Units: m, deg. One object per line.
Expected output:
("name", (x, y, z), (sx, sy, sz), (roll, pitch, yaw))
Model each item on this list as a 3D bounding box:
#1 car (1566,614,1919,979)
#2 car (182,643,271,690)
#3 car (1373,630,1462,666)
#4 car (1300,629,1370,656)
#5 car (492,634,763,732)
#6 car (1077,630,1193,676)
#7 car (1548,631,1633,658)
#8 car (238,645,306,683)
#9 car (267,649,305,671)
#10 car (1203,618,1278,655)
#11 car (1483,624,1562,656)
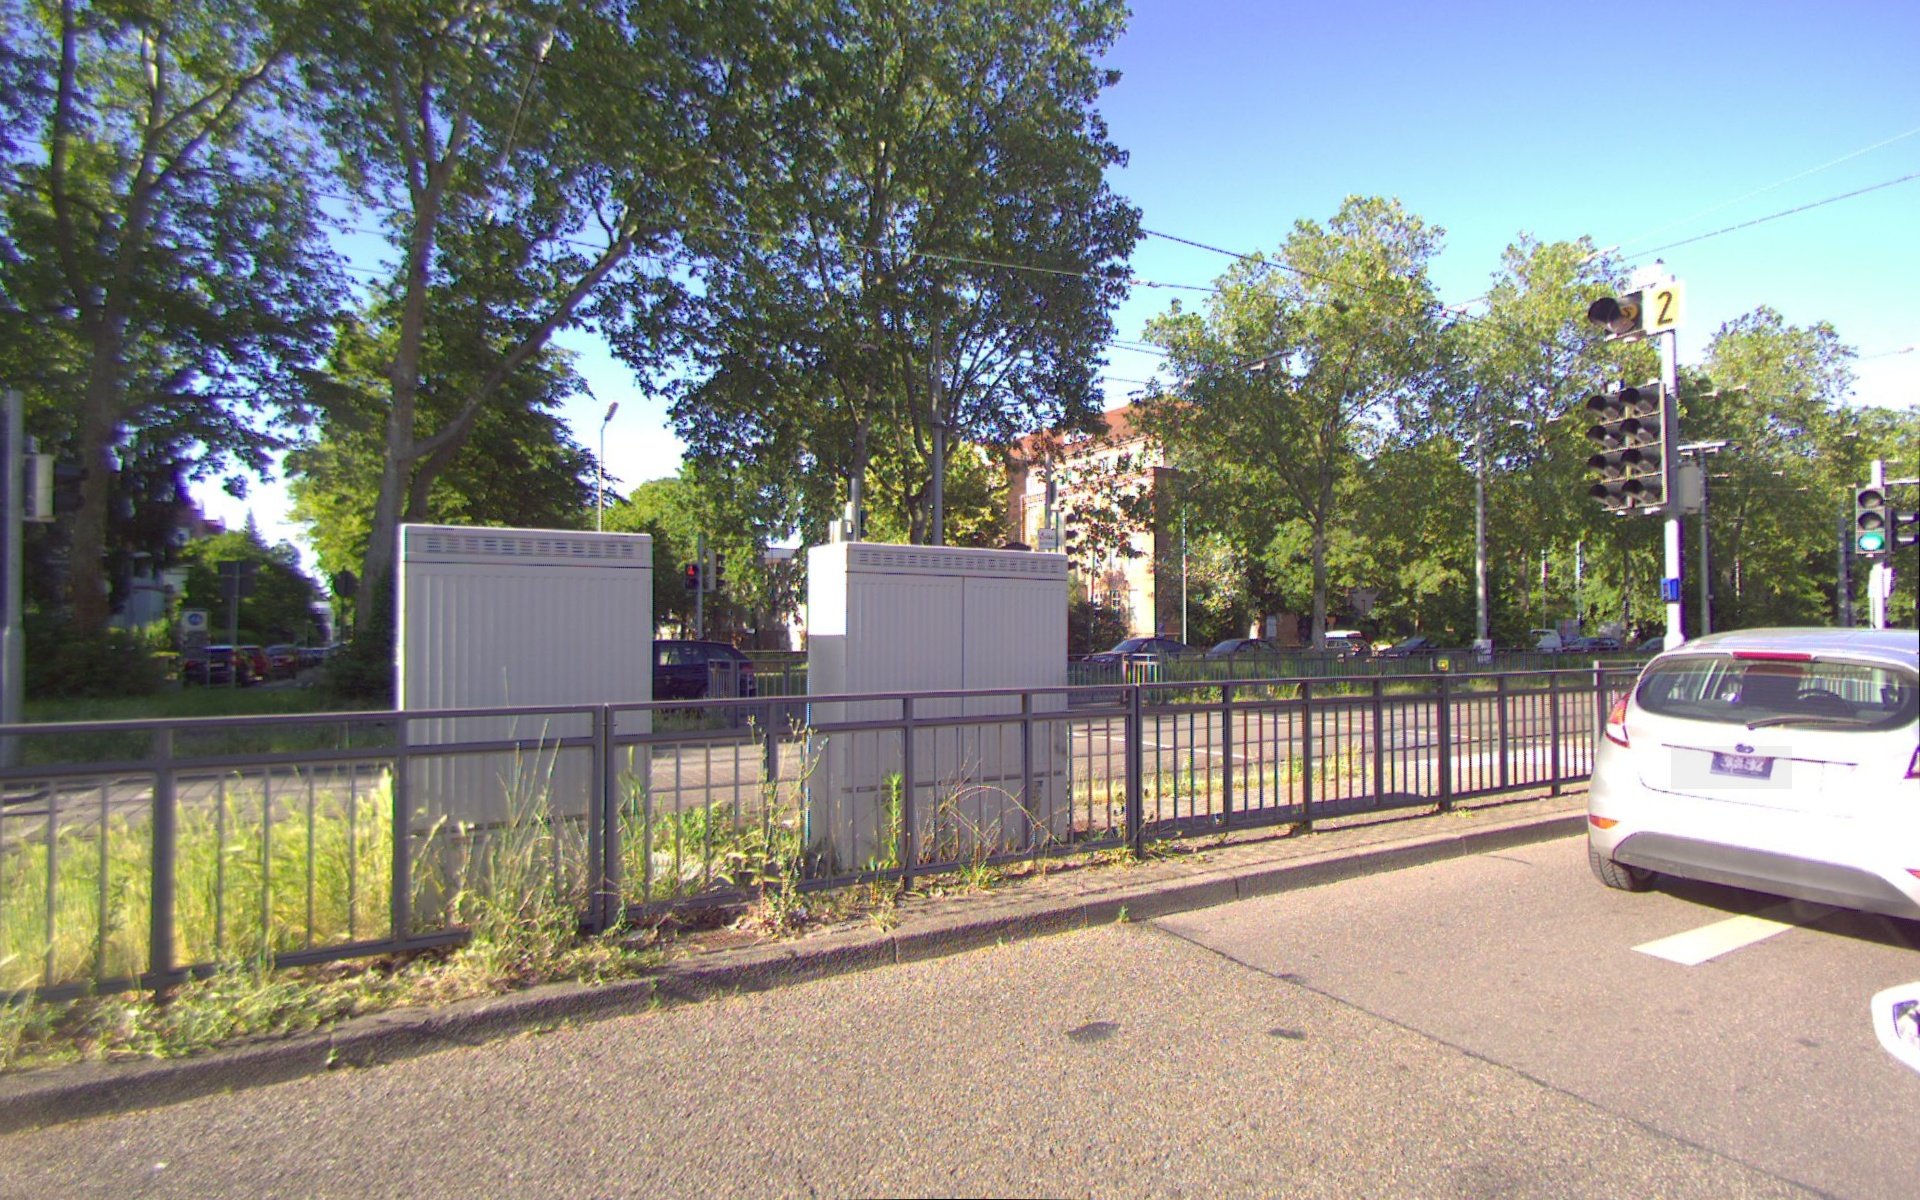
("car", (5.184, 0.838, 5.673), (3.850, 1.487, 1.599), (1, -1, -35))
("car", (-25.260, 2.245, 34.733), (1.976, 1.437, 3.970), (1, -1, -29))
("car", (20.566, 2.145, 45.115), (4.098, 1.529, 1.660), (1, -1, -32))
("car", (21.658, 2.439, 58.126), (1.375, 1.514, 3.974), (1, -2, -26))
("car", (-5.828, 1.372, 17.814), (4.297, 1.518, 1.674), (1, -1, -33))
("car", (6.341, 1.877, 36.300), (4.098, 1.529, 1.661), (1, -2, -32))
("car", (33.321, 2.361, 53.049), (4.795, 1.366, 1.926), (2, -2, -32))
("car", (-28.752, 2.631, 42.098), (1.976, 1.437, 3.970), (1, -1, -29))
("car", (-38.579, 3.406, 57.518), (1.513, 1.134, 3.102), (1, -1, -29))
("car", (15.986, 2.068, 57.266), (3.953, 2.040, 1.984), (1, -2, -30))
("car", (27.972, 1.953, 49.931), (4.098, 1.529, 1.660), (1, -1, -32))
